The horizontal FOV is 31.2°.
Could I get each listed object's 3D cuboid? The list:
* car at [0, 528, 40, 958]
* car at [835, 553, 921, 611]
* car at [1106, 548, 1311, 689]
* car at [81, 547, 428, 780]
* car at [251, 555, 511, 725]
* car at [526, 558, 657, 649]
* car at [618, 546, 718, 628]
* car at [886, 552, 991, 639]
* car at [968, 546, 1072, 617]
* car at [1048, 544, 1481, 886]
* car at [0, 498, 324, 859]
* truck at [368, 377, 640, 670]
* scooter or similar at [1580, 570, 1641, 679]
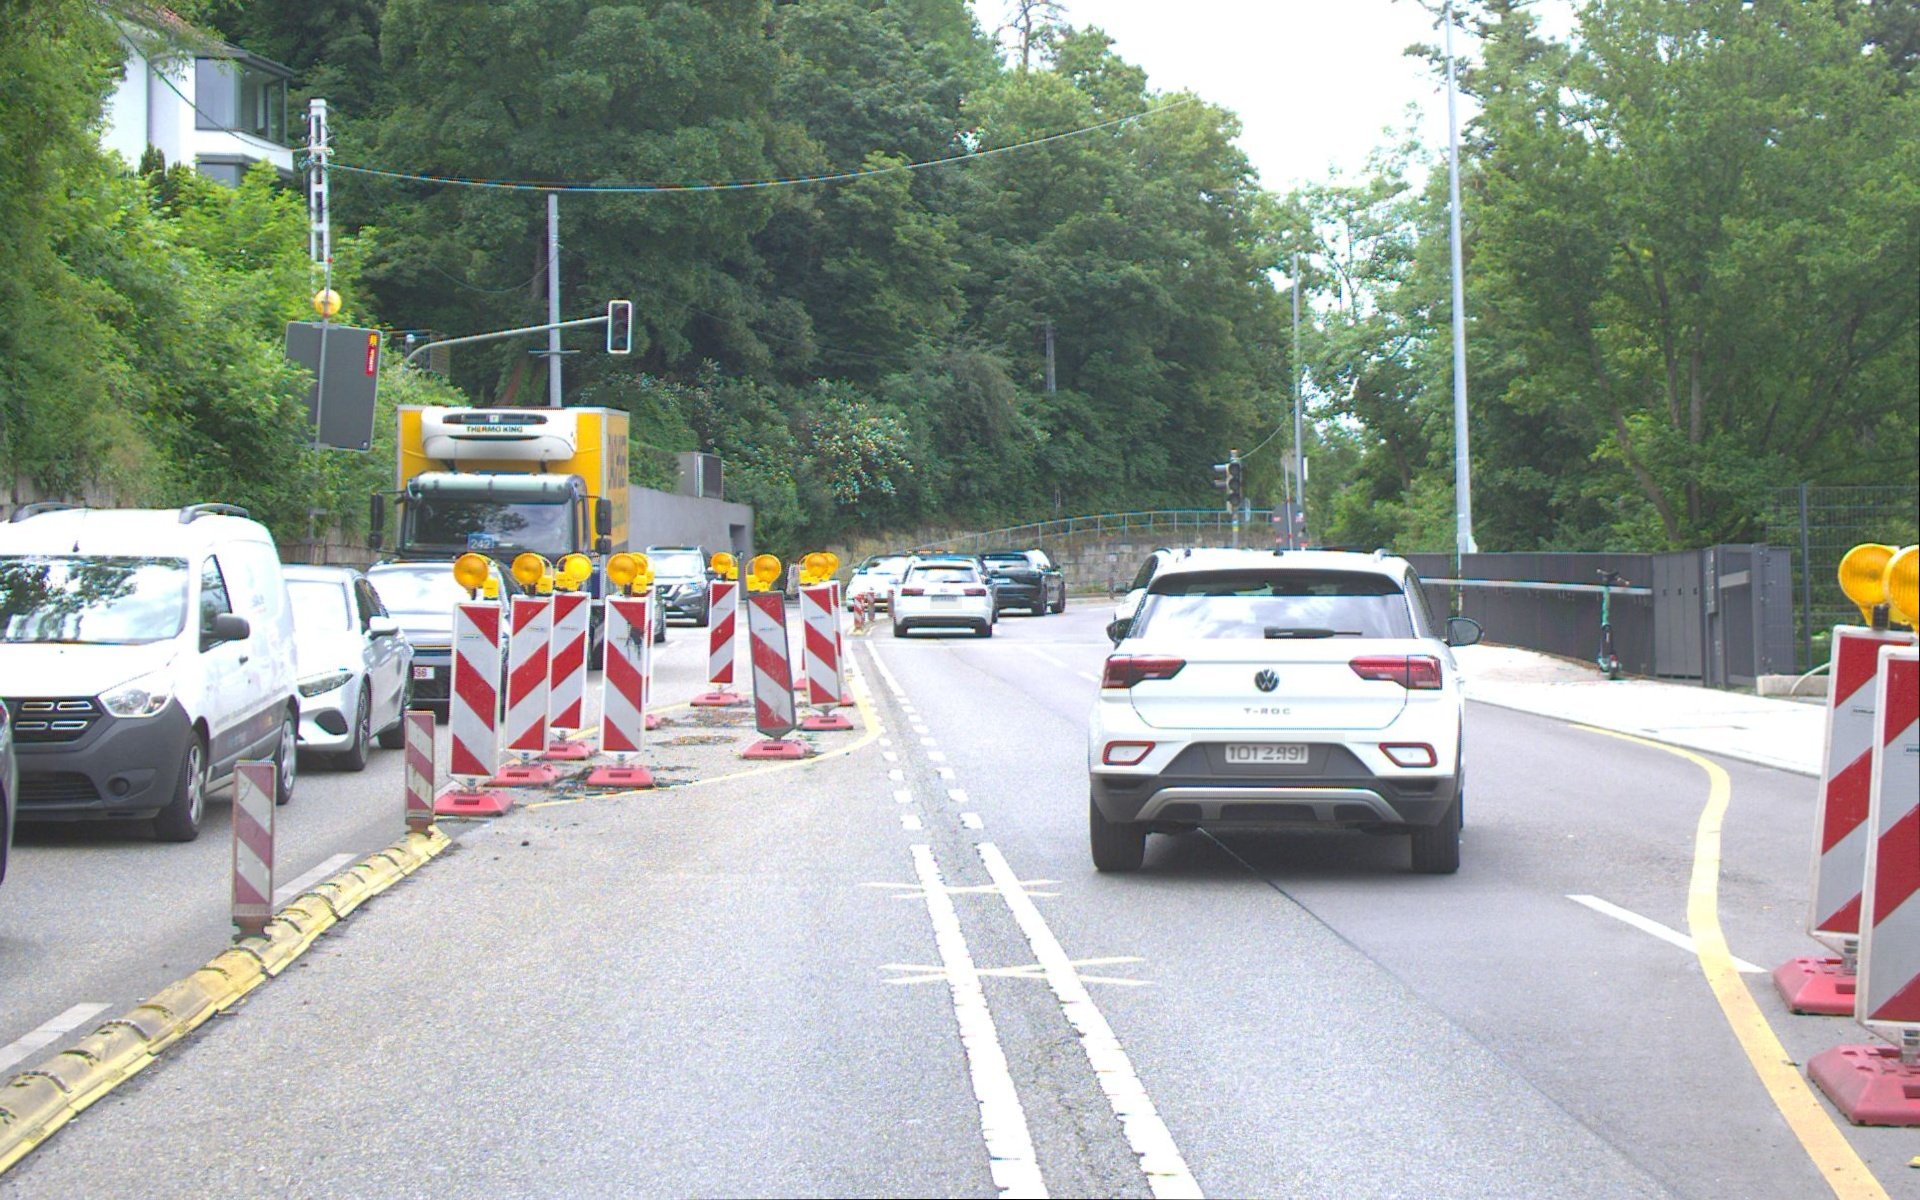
[{"bbox_3d":[-4.384,0.522,10.819,1.831,1.587,4.655,1,0,-2],"label":"car"},{"bbox_3d":[-2.113,-0.484,89.415,1.711,1.461,3.660,1,1,6],"label":"car"},{"bbox_3d":[2.953,0.195,41.663,1.993,1.581,4.000,1,0,-3],"label":"car"},{"bbox_3d":[-5.002,0.406,24.926,1.791,1.502,4.312,1,0,-3],"label":"car"},{"bbox_3d":[-5.339,0.332,32.233,1.770,1.437,4.746,1,0,-2],"label":"car"},{"bbox_3d":[-6.058,0.026,56.984,1.809,1.425,4.875,0,1,-2],"label":"car"},{"bbox_3d":[-6.214,-0.300,73.517,1.883,1.691,4.672,0,1,-2],"label":"car"},{"bbox_3d":[-0.390,-0.104,65.784,1.906,1.568,4.000,1,0,0],"label":"car"},{"bbox_3d":[1.525,-0.459,85.678,1.816,1.684,3.998,1,0,12],"label":"car"},{"bbox_3d":[1.655,0.500,17.480,1.868,1.531,3.802,0,0,10],"label":"car"},{"bbox_3d":[-4.867,0.367,19.352,1.803,1.784,4.342,1,0,-1],"label":"car"},{"bbox_3d":[-5.772,-0.939,44.625,2.731,3.498,7.351,0,0,-1],"label":"truck"},{"bbox_3d":[7.602,0.278,40.219,0.534,1.222,1.206,-2,1,5],"label":"scooter or similar"}]
